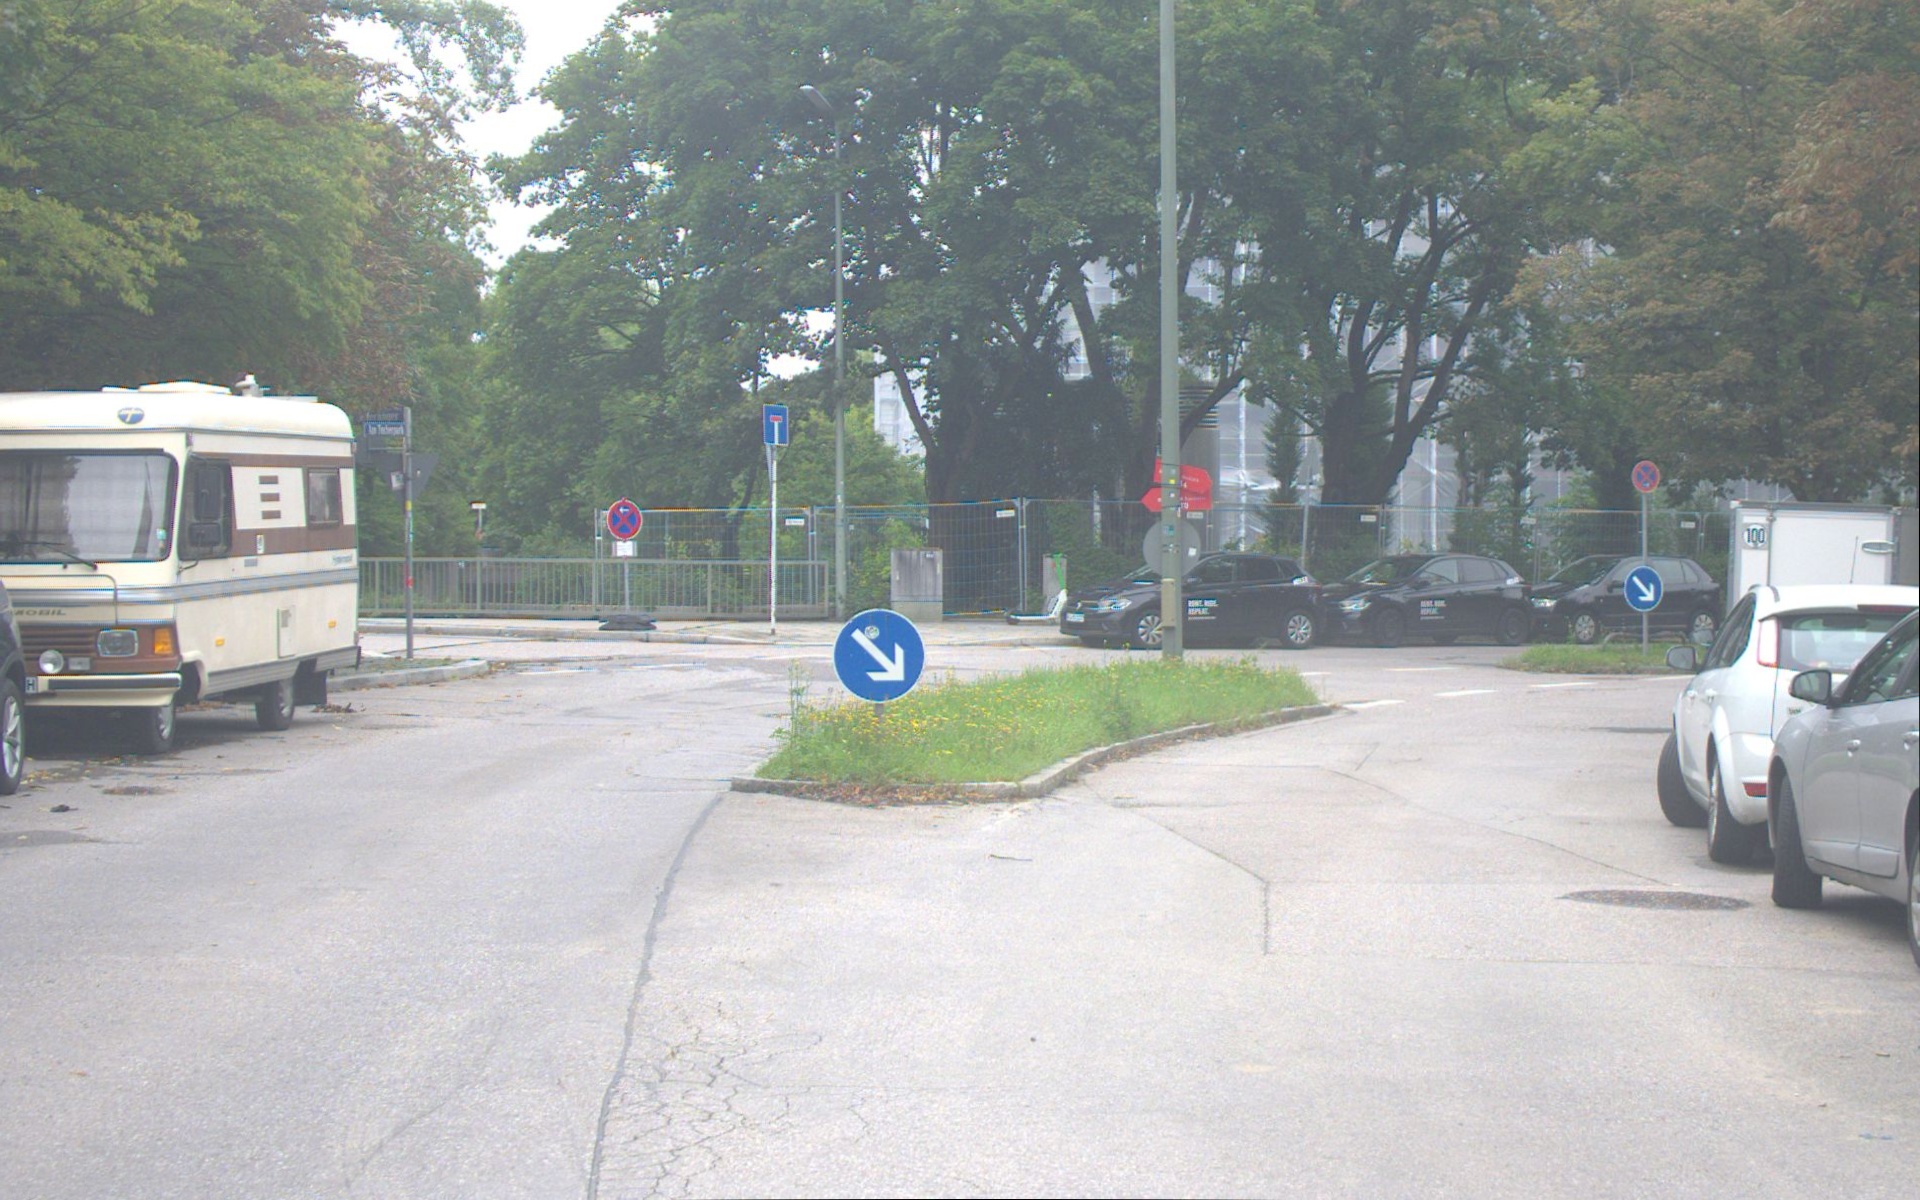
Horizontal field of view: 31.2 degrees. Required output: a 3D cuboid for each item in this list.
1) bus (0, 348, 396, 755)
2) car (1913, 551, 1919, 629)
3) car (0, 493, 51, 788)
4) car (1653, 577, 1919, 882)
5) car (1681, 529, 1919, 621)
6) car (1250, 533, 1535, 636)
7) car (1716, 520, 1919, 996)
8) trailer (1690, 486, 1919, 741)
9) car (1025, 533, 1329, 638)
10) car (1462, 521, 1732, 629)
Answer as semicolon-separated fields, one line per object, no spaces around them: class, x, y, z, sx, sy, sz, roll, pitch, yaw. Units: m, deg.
bus;-6.058;-0.380;25.651;2.315;2.690;5.733;0;1;5
car;19.064;-0.157;60.779;4.204;1.379;1.802;0;1;-29
car;-6.192;0.241;18.198;1.776;1.644;4.461;0;1;-3
car;4.949;0.639;19.302;1.767;1.481;4.220;1;1;7
car;14.380;-0.441;58.390;3.993;1.456;1.840;-2;1;-31
car;6.689;-0.248;53.098;3.987;1.536;2.000;0;1;-31
car;4.536;0.584;14.011;1.993;1.722;4.449;2;1;2
trailer;7.668;0.080;29.687;1.811;2.007;4.828;1;1;22
car;3.214;-0.232;50.856;4.029;1.428;2.000;0;3;-31
car;10.363;-0.402;55.898;3.987;1.700;2.000;0;1;-31
